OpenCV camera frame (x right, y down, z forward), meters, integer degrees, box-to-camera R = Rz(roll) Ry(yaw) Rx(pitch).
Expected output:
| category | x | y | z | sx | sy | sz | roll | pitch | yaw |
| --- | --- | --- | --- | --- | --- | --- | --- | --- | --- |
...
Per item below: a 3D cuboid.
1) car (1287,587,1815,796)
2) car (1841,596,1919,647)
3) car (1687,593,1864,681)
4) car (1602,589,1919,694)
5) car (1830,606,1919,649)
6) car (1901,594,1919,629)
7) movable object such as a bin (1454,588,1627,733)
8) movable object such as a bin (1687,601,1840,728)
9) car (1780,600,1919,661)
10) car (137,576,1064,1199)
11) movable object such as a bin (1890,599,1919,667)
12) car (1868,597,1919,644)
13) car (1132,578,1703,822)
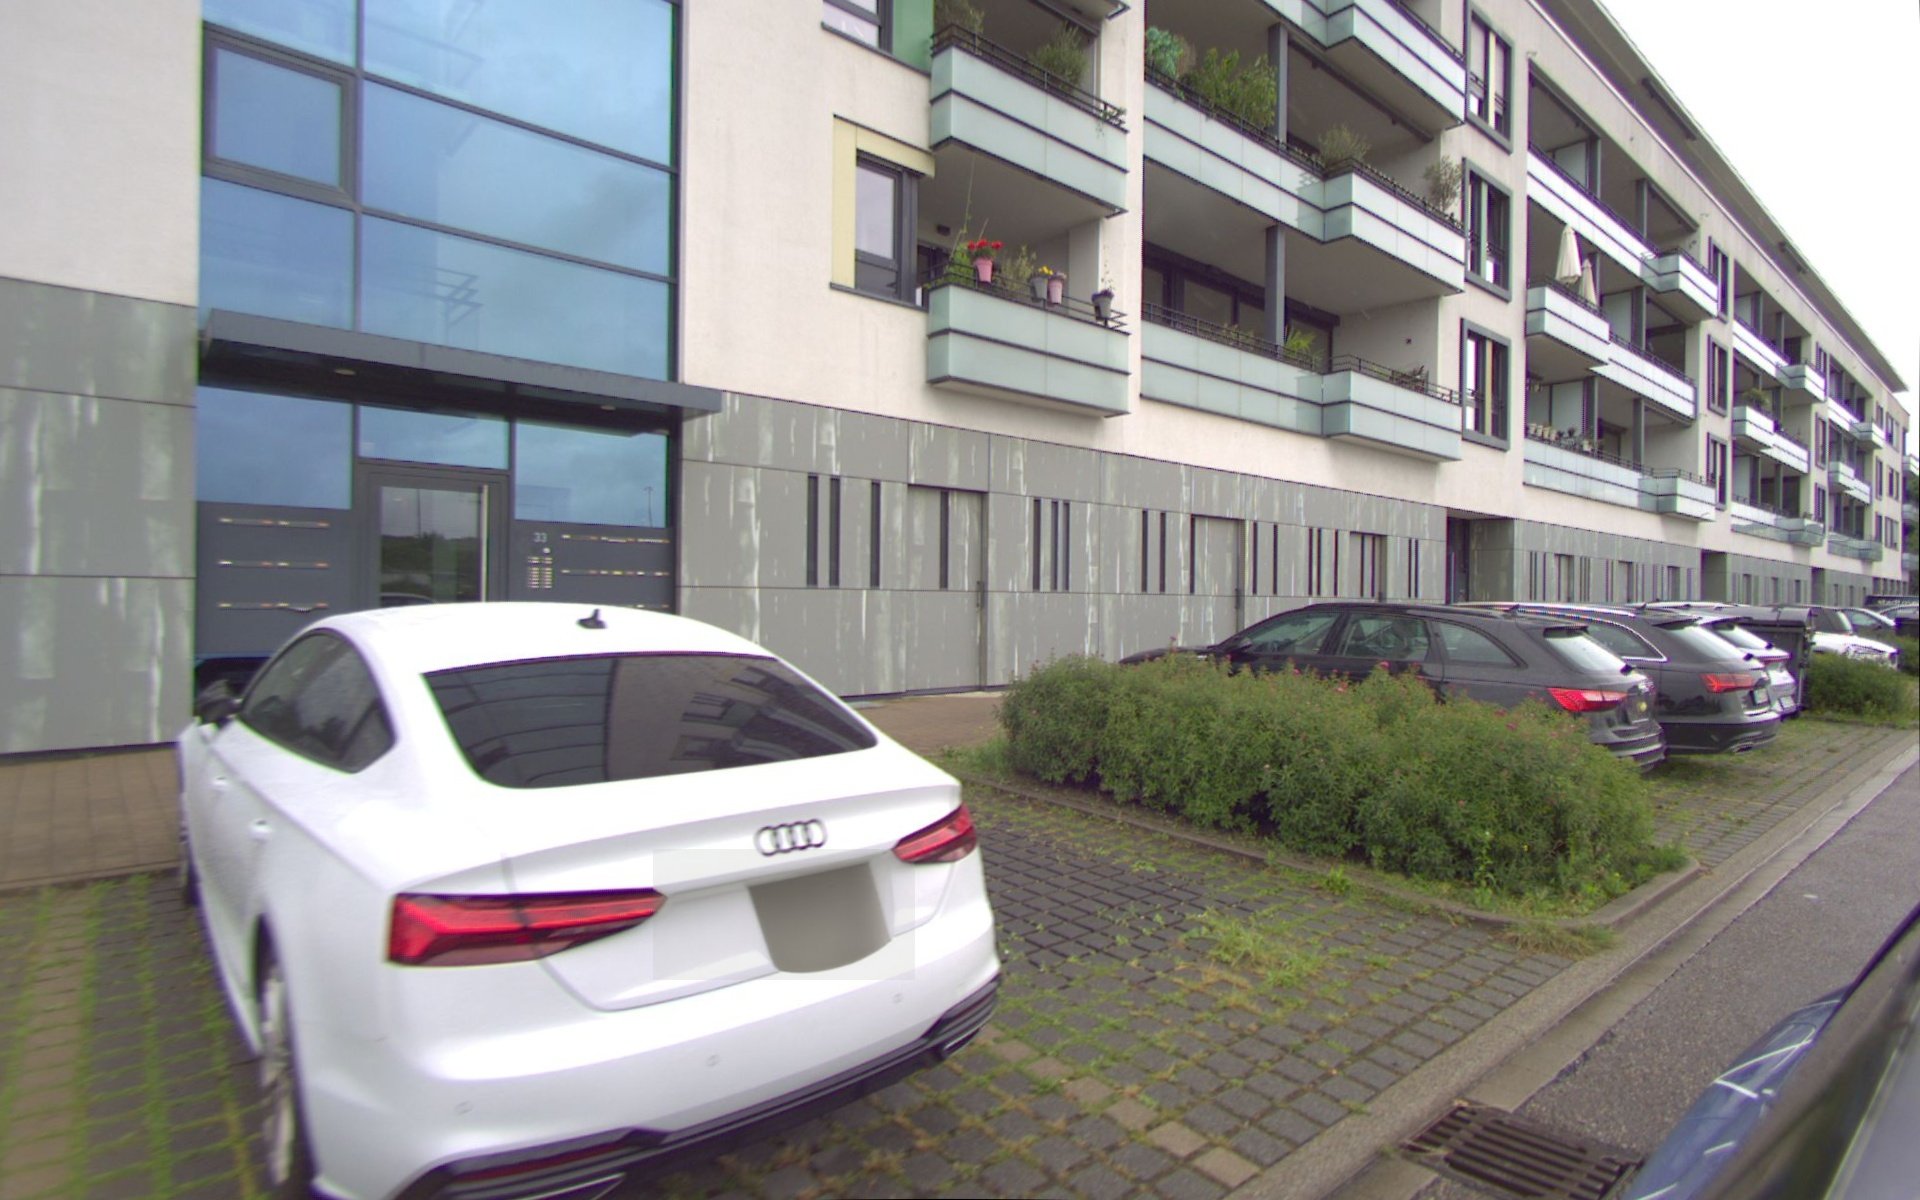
| category | x | y | z | sx | sy | sz | roll | pitch | yaw |
| --- | --- | --- | --- | --- | --- | --- | --- | --- | --- |
| car | 5.618 | 0.695 | 10.029 | 2.021 | 1.515 | 4.069 | 1 | 1 | -40 |
| car | 33.017 | 0.734 | 34.597 | 1.658 | 1.664 | 4.214 | 0 | 1 | -41 |
| car | 16.221 | 0.690 | 20.171 | 2.624 | 1.525 | 1.188 | 3 | 2 | 44 |
| car | 14.755 | 0.674 | 18.798 | 1.856 | 1.549 | 4.364 | 1 | 2 | -33 |
| car | 36.348 | 1.073 | 38.926 | 1.721 | 1.501 | 4.180 | 0 | 2 | -44 |
| car | 46.257 | 0.609 | 46.267 | 2.043 | 1.621 | 4.434 | 1 | 2 | -36 |
| movable object such as a bin | 6.898 | 0.659 | 12.019 | 1.554 | 1.545 | 1.303 | 1 | 1 | -41 |
| movable object such as a bin | 10.520 | 0.790 | 13.256 | 1.554 | 1.546 | 1.302 | 1 | -1 | -41 |
| car | 25.729 | 0.840 | 28.456 | 1.731 | 1.509 | 3.855 | 1 | 1 | -40 |
| car | -1.870 | 0.693 | 3.901 | 1.877 | 1.422 | 4.418 | 1 | 2 | -41 |
| movable object such as a bin | 22.338 | 0.772 | 23.055 | 1.135 | 1.511 | 1.499 | 1 | 2 | -41 |
| car | 42.286 | 0.958 | 43.159 | 1.947 | 1.952 | 5.060 | 1 | 2 | -41 |
| car | 3.634 | 0.616 | 8.581 | 1.846 | 1.498 | 3.994 | 1 | 1 | -42 |
